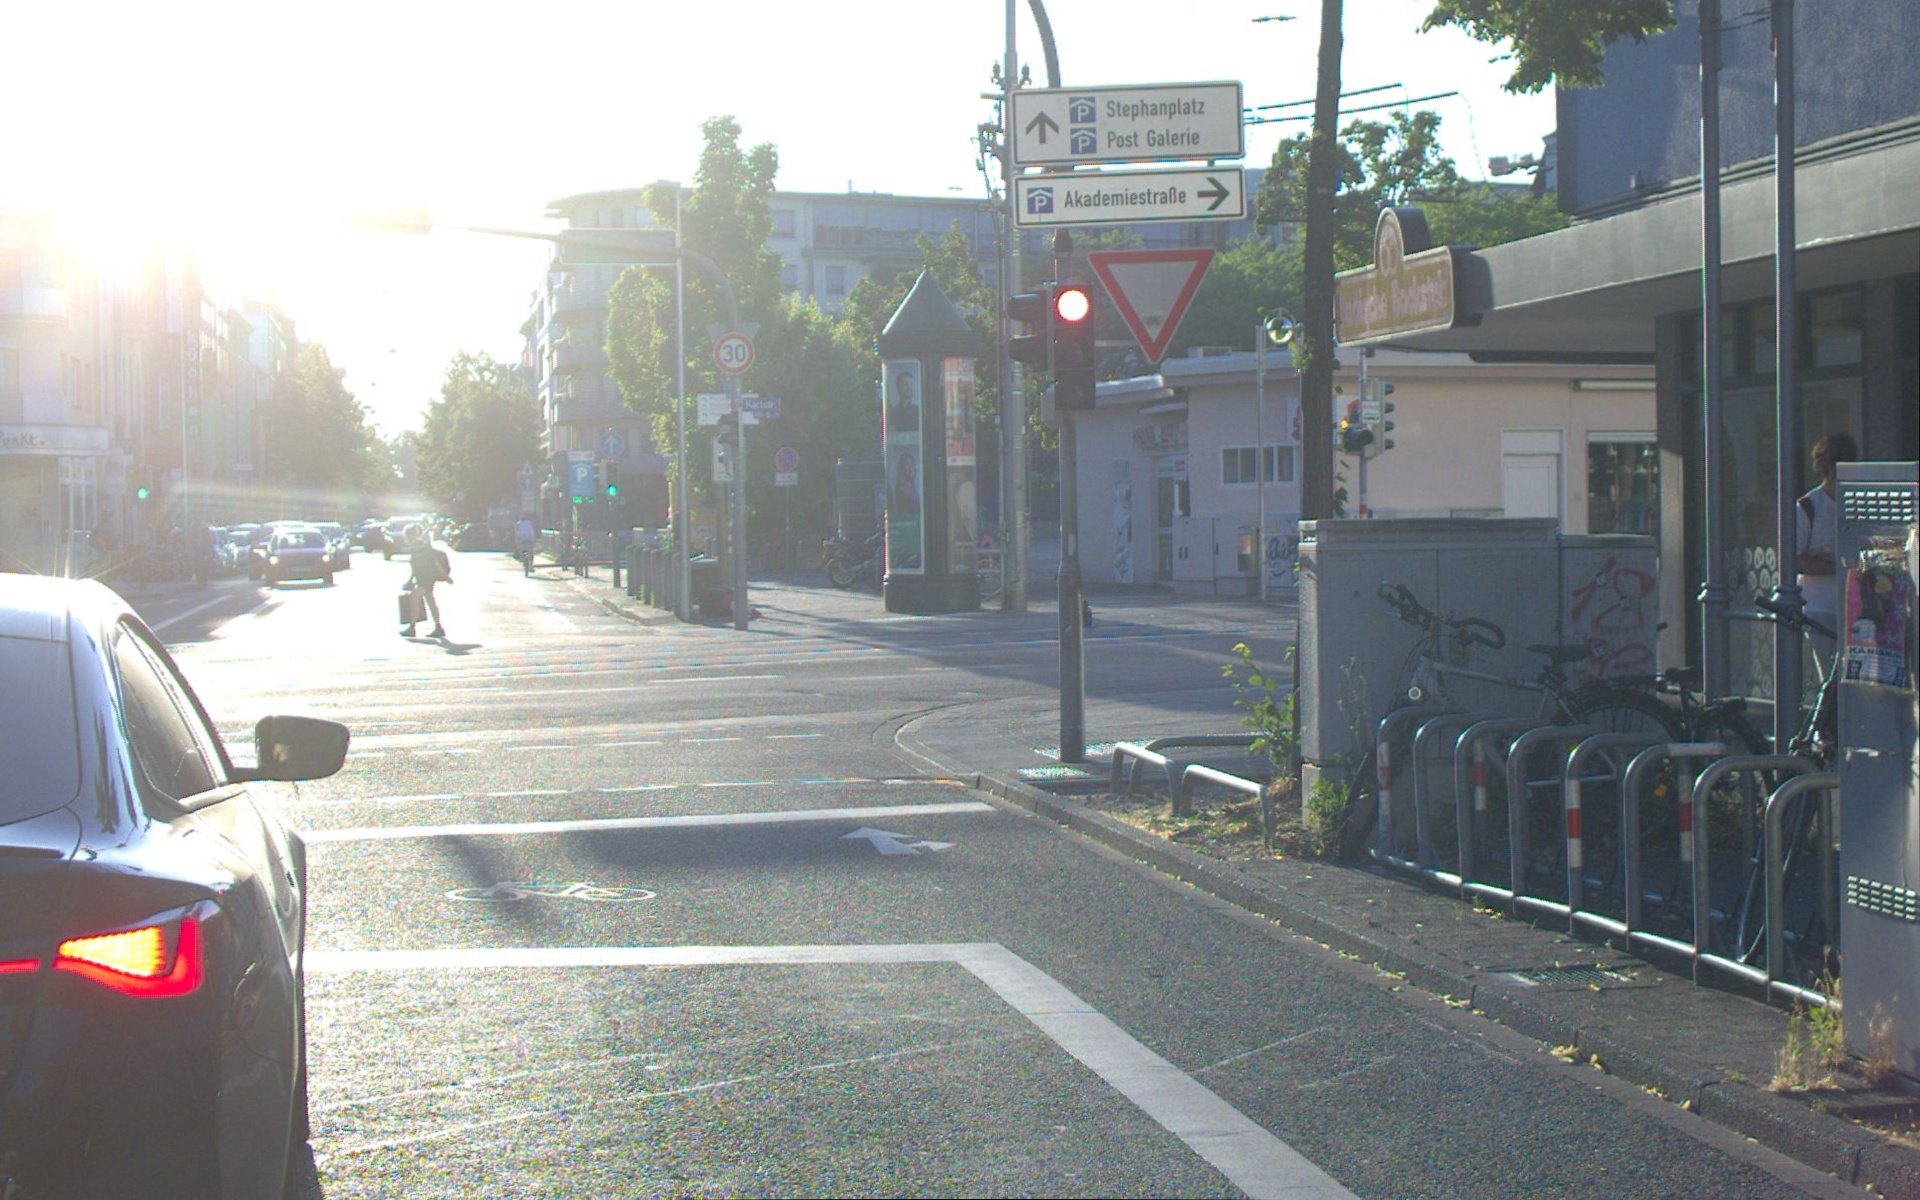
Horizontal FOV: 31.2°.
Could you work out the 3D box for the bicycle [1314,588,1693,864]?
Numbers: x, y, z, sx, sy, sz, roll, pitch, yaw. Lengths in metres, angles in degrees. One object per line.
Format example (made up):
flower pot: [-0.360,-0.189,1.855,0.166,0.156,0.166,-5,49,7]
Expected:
bicycle: [2.397,0.546,15.167,1.612,1.167,0.318,-1,1,-6]

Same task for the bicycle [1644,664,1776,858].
bicycle: [3.346,0.704,15.390,0.249,0.793,1.116,1,1,-5]

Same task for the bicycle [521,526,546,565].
bicycle: [-12.658,-1.614,102.055,0.550,1.155,2.145,0,1,-12]

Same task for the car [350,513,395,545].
car: [-30.277,-3.652,177.241,1.993,1.546,4.001,-2,2,-7]

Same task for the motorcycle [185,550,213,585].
motorcycle: [-20.183,-0.872,91.201,0.575,0.912,2.201,1,1,-8]

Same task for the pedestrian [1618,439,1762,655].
pedestrian: [6.541,-0.481,30.807,1.001,1.854,0.640,-5,3,-28]

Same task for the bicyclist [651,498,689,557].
bicyclist: [-7.484,-1.879,88.726,0.884,1.500,0.612,1,1,3]

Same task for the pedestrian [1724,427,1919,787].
pedestrian: [4.544,0.027,18.029,0.835,1.835,0.679,-1,1,-8]

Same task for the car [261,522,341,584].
car: [-16.883,-1.230,88.228,1.817,1.514,4.001,-1,2,-8]

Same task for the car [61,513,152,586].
car: [-21.606,-1.299,87.106,1.817,1.782,4.001,-1,2,-8]

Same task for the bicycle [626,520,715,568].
bicycle: [-7.473,-1.454,88.753,2.212,1.198,0.620,1,1,3]

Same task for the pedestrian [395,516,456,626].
pedestrian: [-7.466,-0.402,48.029,0.732,1.524,0.473,0,1,-23]

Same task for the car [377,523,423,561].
car: [-23.482,-2.436,144.213,1.817,1.514,4.001,-1,2,-8]

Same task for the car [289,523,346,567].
car: [-22.947,-1.988,122.964,1.817,1.514,4.001,-1,2,-8]

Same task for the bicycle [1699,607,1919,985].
bicycle: [3.219,0.645,11.397,1.440,1.216,0.383,1,1,-7]

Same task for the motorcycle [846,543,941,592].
motorcycle: [-1.313,-0.651,67.894,1.668,0.935,0.856,-1,2,-19]

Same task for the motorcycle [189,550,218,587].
motorcycle: [-19.422,-0.808,88.278,0.575,0.912,2.201,1,1,-8]

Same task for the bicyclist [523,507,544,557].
bicyclist: [-12.672,-2.020,102.112,0.550,1.476,0.723,0,0,-12]

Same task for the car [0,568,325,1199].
car: [-2.117,0.674,6.505,1.736,1.424,4.225,0,1,-10]
